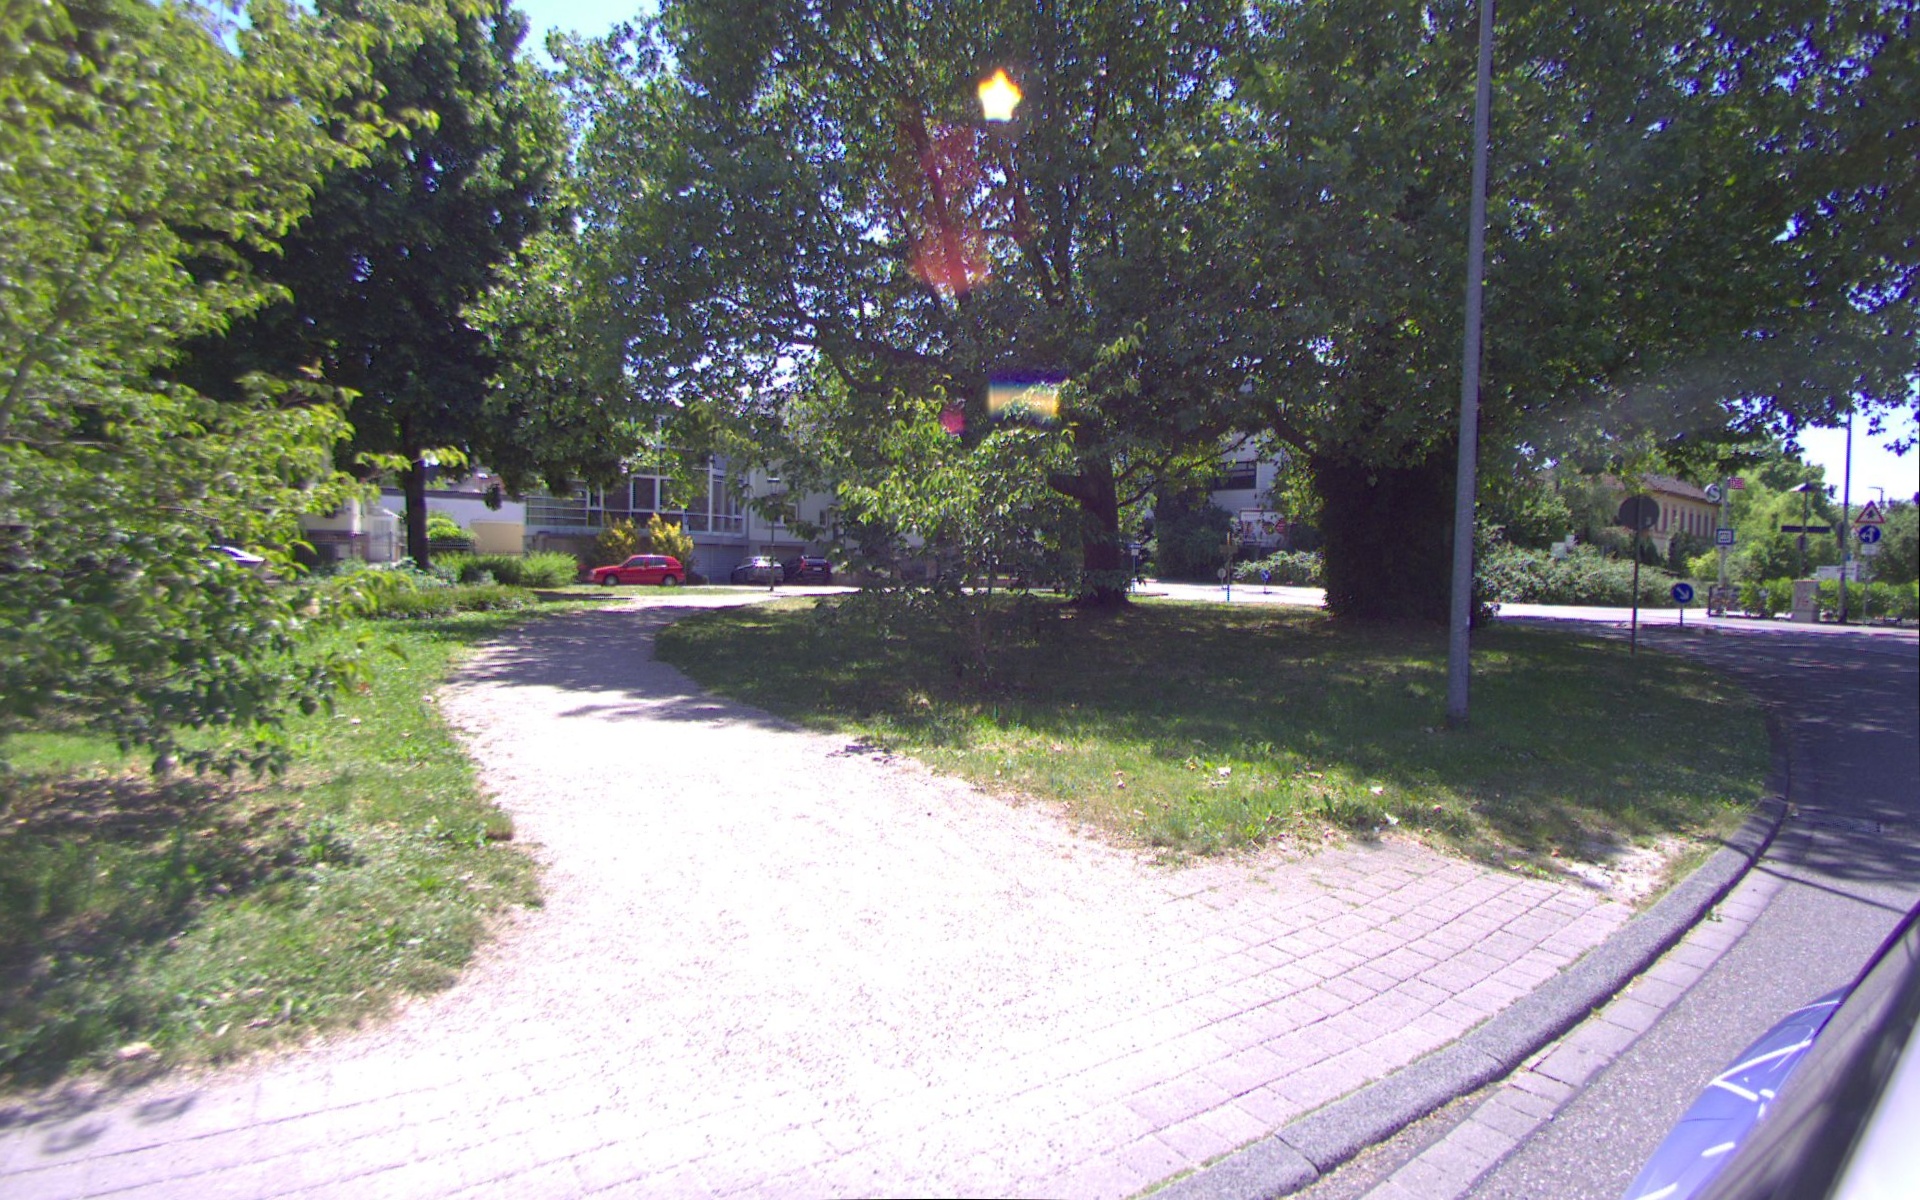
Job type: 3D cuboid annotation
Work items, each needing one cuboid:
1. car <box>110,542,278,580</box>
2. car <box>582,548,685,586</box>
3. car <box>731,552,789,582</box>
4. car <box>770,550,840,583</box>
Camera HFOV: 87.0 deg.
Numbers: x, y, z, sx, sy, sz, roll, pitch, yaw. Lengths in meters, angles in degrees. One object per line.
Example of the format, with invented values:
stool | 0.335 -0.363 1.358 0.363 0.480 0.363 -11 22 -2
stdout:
car | -27.607 -1.426 36.671 4.620 1.303 1.674 -1 4 -28
car | -14.027 -1.407 43.507 3.920 1.543 1.756 0 3 -30
car | -10.079 -1.674 50.841 1.959 1.408 4.009 0 3 -25
car | -8.107 -1.774 52.621 1.962 1.587 4.001 0 3 -36
